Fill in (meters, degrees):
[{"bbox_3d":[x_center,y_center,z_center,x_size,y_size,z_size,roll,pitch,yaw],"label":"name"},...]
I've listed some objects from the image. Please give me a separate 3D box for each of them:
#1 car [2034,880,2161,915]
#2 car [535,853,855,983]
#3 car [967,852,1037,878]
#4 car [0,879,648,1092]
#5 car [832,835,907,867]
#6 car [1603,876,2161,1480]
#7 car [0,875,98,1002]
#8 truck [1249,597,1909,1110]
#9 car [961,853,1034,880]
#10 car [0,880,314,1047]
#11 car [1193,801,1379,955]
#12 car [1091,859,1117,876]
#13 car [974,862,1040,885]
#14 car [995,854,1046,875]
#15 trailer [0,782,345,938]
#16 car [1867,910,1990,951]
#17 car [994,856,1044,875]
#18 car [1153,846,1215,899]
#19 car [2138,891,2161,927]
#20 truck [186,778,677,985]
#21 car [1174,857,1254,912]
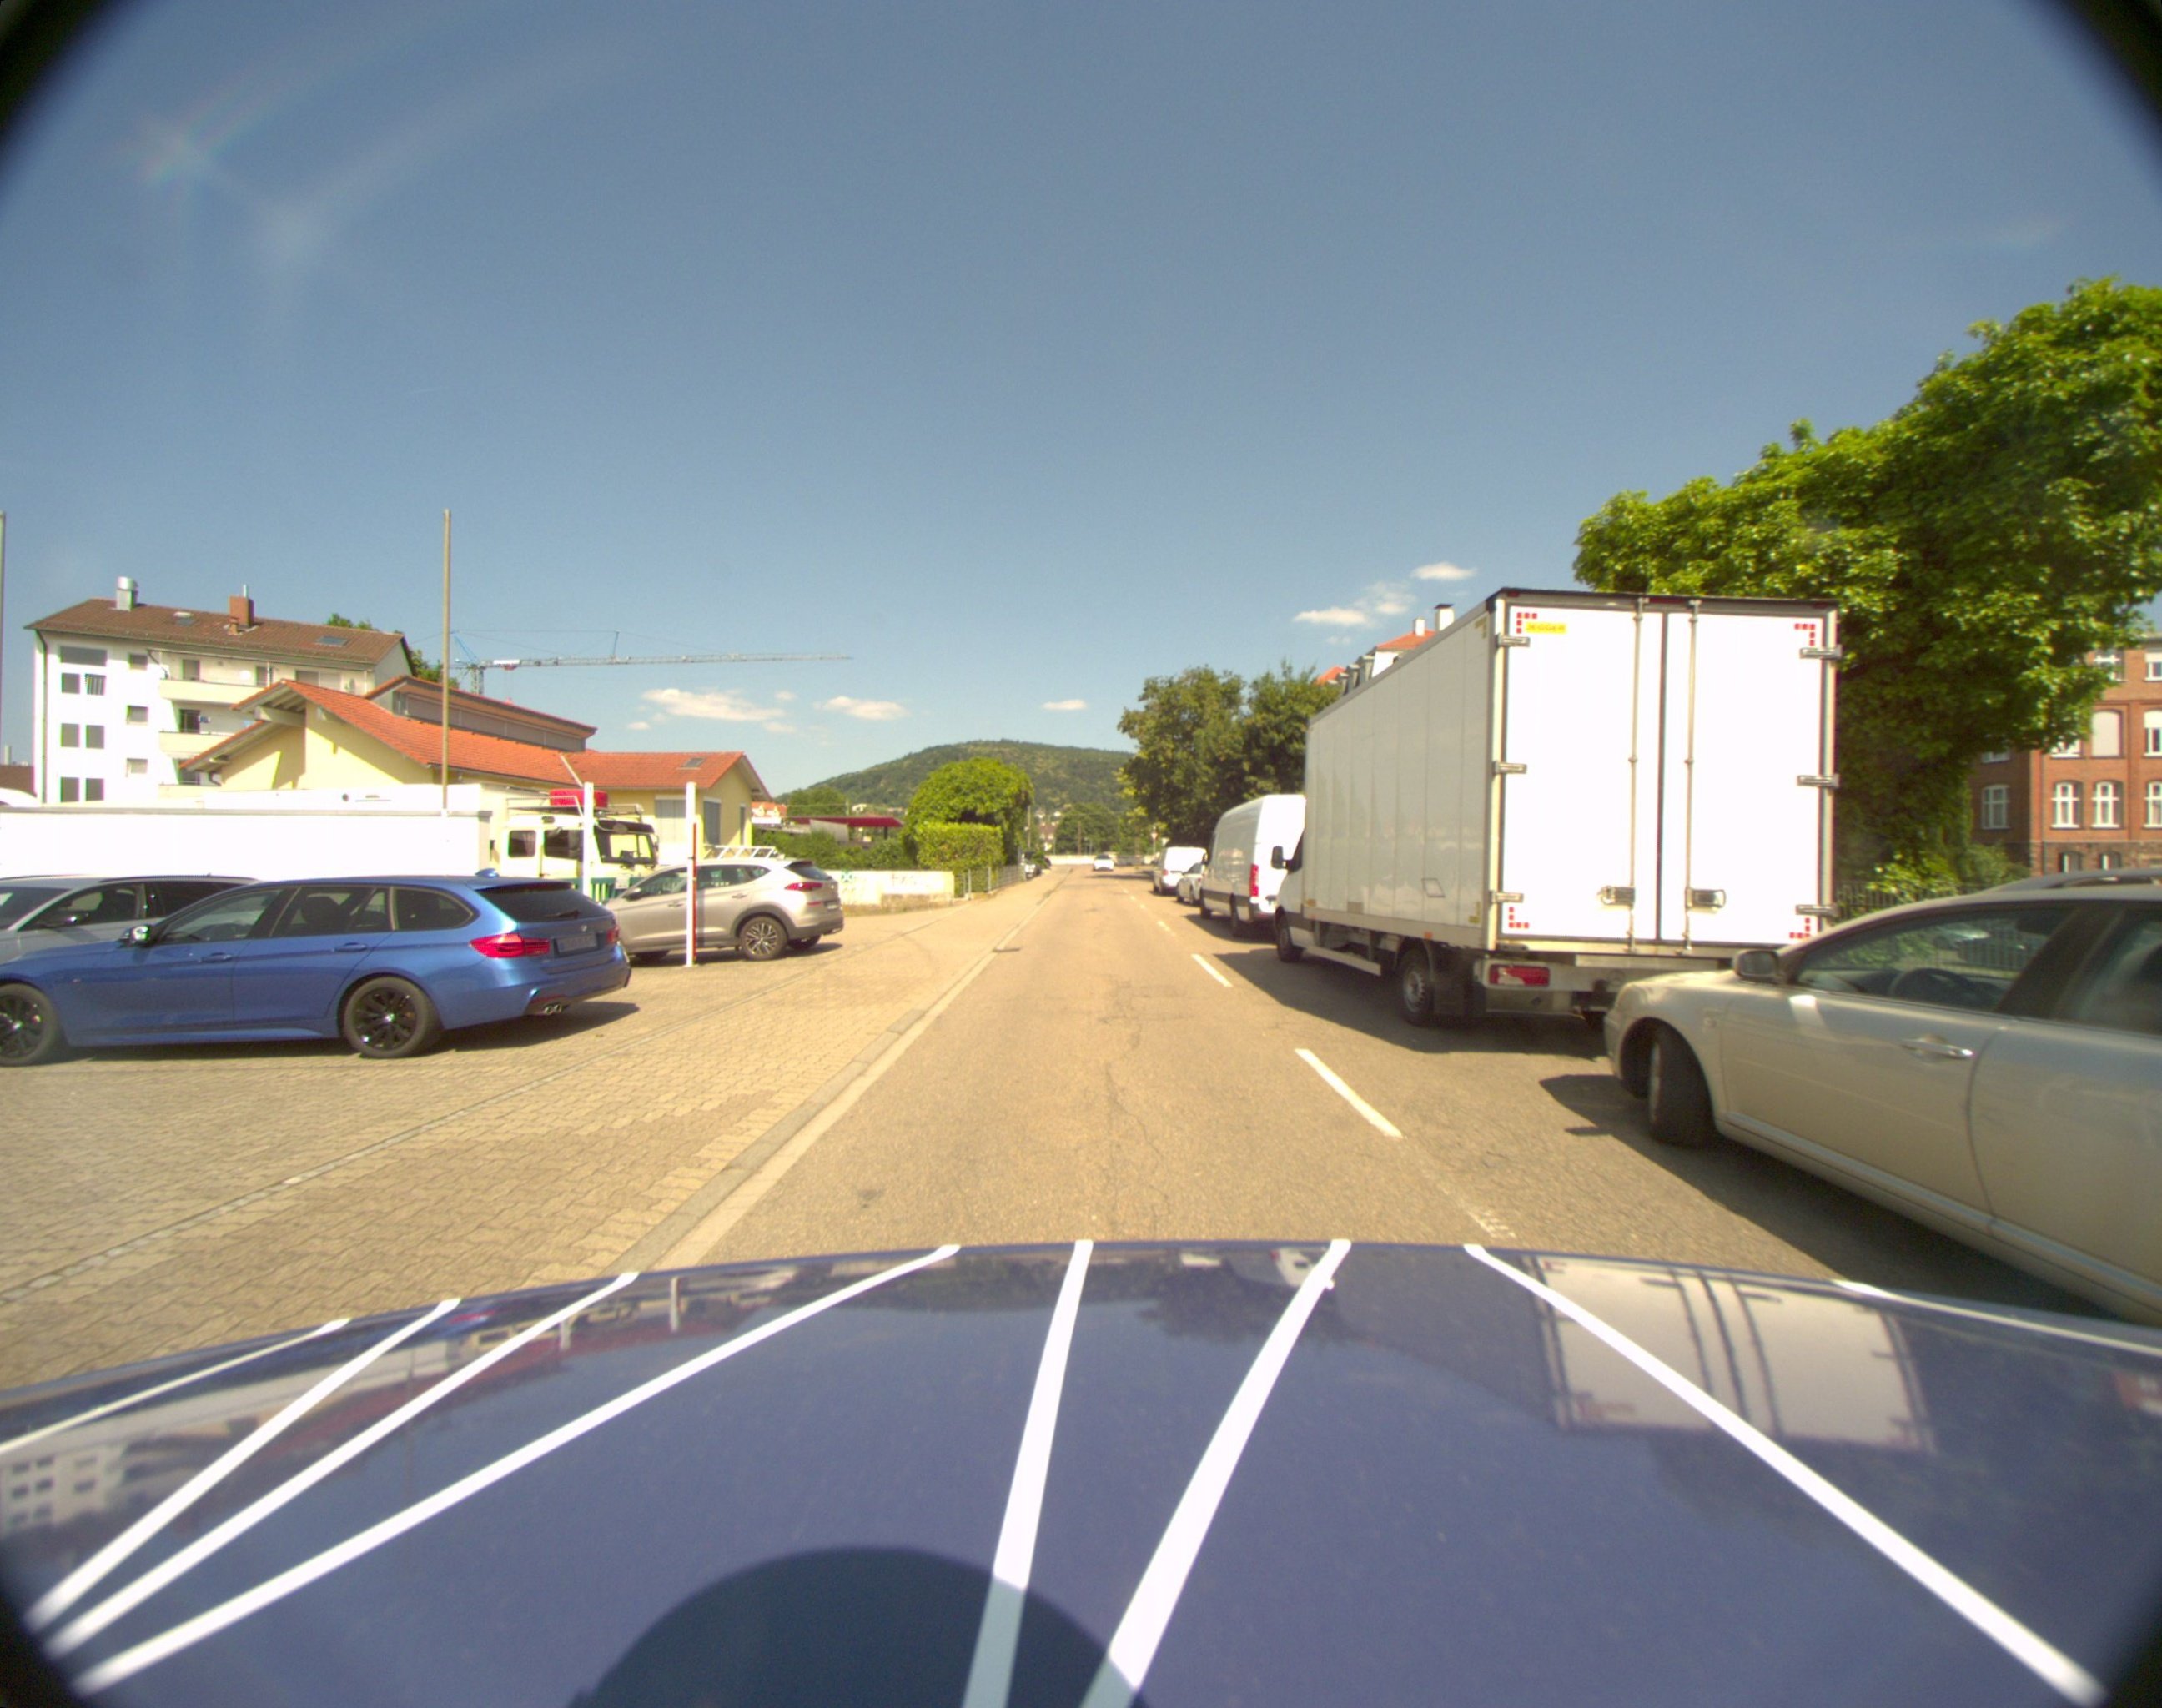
[{"bbox_3d":[55.141,2.319,40.836,4.595,1.668,2.117,0,1,10],"label":"car"},{"bbox_3d":[-6.144,0.973,12.466,4.211,1.672,1.766,-4,1,0],"label":"car"},{"bbox_3d":[-5.187,0.722,50.302,4.414,1.519,1.896,2,1,-2],"label":"car"},{"bbox_3d":[-6.482,1.016,6.566,4.364,1.433,1.892,-2,0,0],"label":"car"},{"bbox_3d":[-18.302,-0.258,65.671,6.026,2.663,2.255,0,1,-22],"label":"car"},{"bbox_3d":[3.722,0.895,2.149,1.745,1.512,4.311,1,0,4],"label":"car"},{"bbox_3d":[-13.742,1.004,7.751,1.890,1.433,4.188,1,0,4],"label":"car"},{"bbox_3d":[4.048,-0.026,8.559,2.692,3.347,7.128,1,1,0],"label":"truck"},{"bbox_3d":[-5.230,0.775,47.820,4.414,1.644,1.843,0,1,-2],"label":"car"},{"bbox_3d":[-10.994,1.066,7.767,1.891,1.433,4.454,0,0,-2],"label":"car"},{"bbox_3d":[3.998,0.370,16.404,2.173,2.581,6.919,1,1,1],"label":"car"},{"bbox_3d":[2.106,1.249,71.140,1.897,1.412,4.167,2,1,-5],"label":"car"},{"bbox_3d":[-5.102,1.335,52.941,4.414,1.488,1.897,0,1,0],"label":"car"},{"bbox_3d":[-4.640,0.776,58.431,3.812,1.614,1.759,0,0,-1],"label":"car"},{"bbox_3d":[-25.359,0.147,20.594,8.350,3.840,3.069,0,1,6],"label":"trailer"},{"bbox_3d":[44.779,3.989,40.309,1.819,1.667,4.606,2,0,9],"label":"car"},{"bbox_3d":[-4.480,0.832,55.501,3.558,1.327,1.558,0,0,-1],"label":"car"},{"bbox_3d":[4.256,0.707,32.152,1.976,2.002,5.056,2,1,1],"label":"car"},{"bbox_3d":[54.224,2.674,36.002,4.595,1.668,2.117,0,1,10],"label":"car"},{"bbox_3d":[-12.653,0.515,15.261,7.536,3.403,2.527,-3,0,1],"label":"truck"},{"bbox_3d":[4.248,0.917,25.002,1.718,1.535,4.399,2,1,-2],"label":"car"}]
